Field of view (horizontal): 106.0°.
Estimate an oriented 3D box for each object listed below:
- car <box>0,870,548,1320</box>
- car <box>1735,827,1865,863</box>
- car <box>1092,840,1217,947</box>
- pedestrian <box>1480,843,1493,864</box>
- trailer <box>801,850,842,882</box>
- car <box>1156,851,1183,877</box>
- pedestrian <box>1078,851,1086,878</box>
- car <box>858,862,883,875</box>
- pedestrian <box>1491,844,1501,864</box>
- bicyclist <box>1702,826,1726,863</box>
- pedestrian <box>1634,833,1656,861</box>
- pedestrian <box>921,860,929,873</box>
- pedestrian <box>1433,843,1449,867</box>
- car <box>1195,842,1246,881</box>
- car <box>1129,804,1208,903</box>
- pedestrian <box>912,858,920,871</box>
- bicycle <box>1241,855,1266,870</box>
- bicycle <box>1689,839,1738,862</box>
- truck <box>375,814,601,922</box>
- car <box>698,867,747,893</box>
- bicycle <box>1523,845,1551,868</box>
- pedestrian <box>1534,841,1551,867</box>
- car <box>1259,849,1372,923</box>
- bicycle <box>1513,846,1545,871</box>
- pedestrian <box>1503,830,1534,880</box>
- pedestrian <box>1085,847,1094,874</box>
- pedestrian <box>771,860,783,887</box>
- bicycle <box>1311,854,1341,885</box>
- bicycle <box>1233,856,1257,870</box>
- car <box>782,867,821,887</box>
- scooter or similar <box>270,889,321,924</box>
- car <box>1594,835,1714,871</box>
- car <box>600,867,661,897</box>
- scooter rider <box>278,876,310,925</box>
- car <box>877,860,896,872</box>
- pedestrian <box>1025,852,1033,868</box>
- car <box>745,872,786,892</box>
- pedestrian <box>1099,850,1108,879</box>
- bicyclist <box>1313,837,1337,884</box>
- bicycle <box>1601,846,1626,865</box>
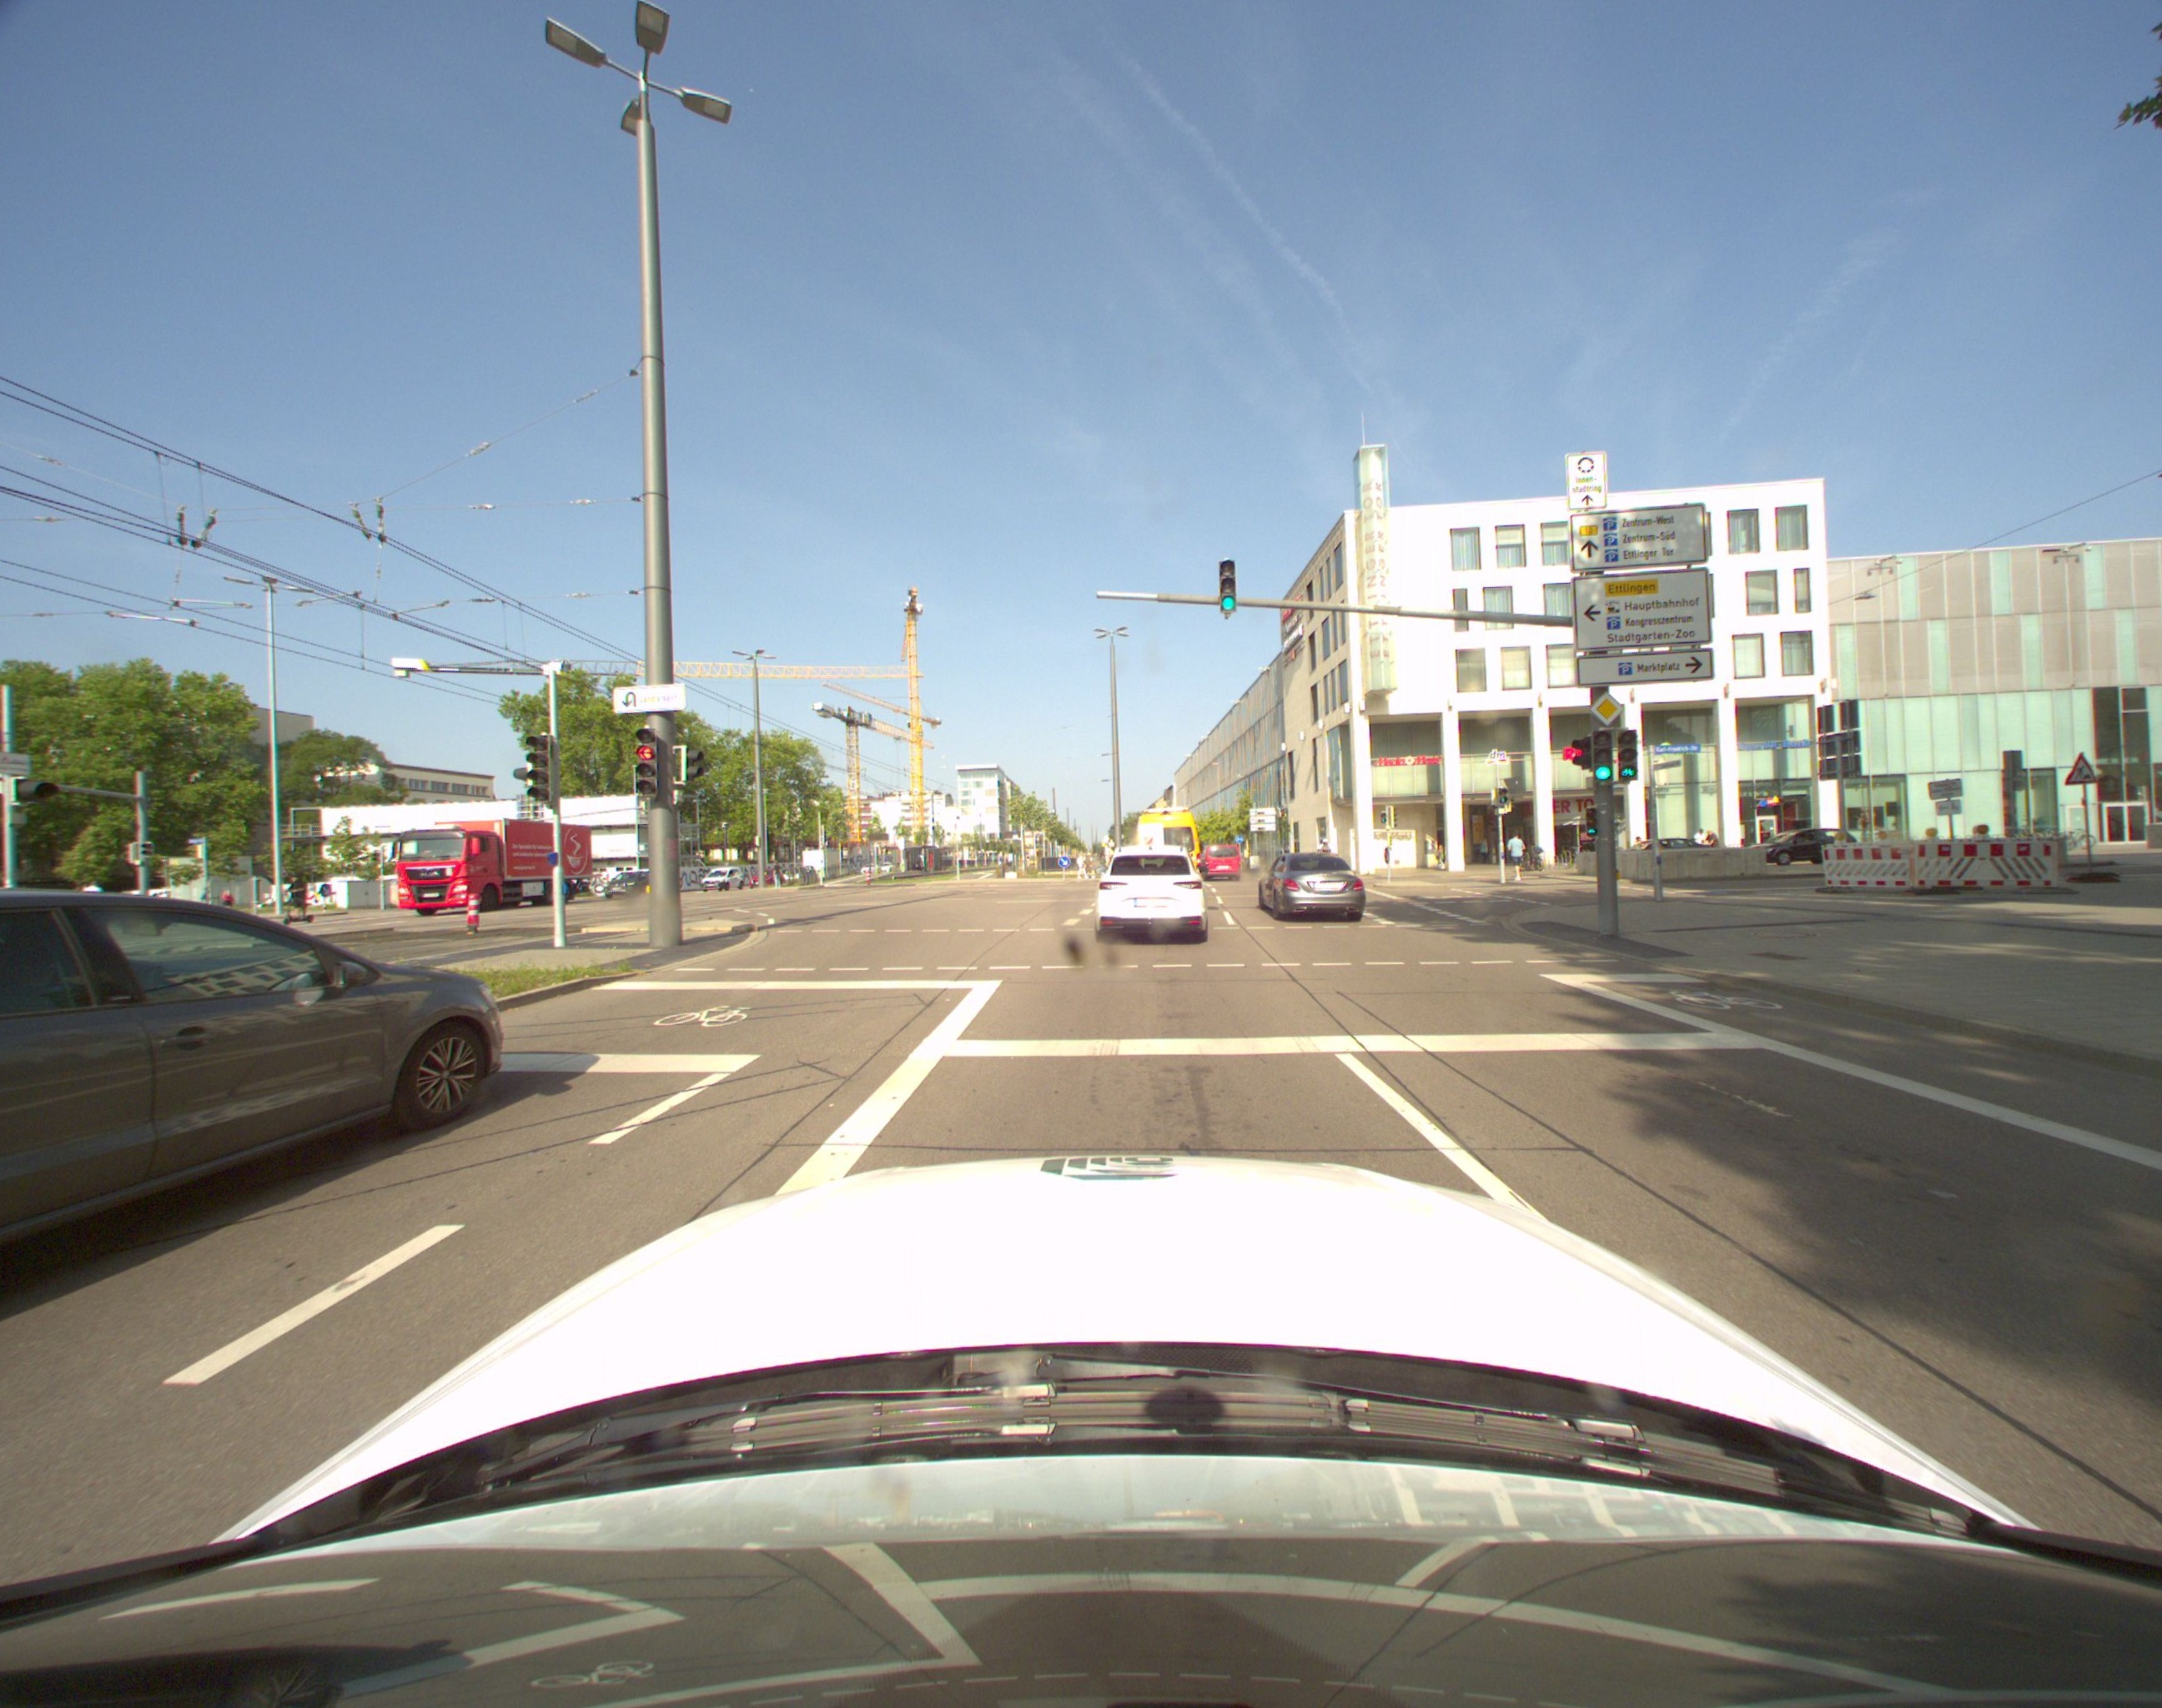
[{"bbox_3d":[-4.417,0.832,3.398,1.697,1.432,3.872,0,0,3],"label":"car"},{"bbox_3d":[31.179,-0.385,35.420,3.881,1.402,1.882,-2,0,6],"label":"car"},{"bbox_3d":[1.185,0.612,14.473,1.863,1.574,4.002,-2,0,2],"label":"car"},{"bbox_3d":[27.316,-0.004,54.906,0.562,1.384,0.492,-2,0,-4],"label":"pedestrian"},{"bbox_3d":[-23.629,1.060,74.323,2.037,2.781,5.022,0,-1,1],"label":"trailer"},{"bbox_3d":[6.723,0.753,62.032,1.703,1.863,3.795,0,-1,2],"label":"car"},{"bbox_3d":[0.063,0.634,50.053,0.466,1.650,0.777,-2,0,1],"label":"pedestrian"},{"bbox_3d":[-27.546,1.900,106.555,1.784,1.582,4.620,-2,0,3],"label":"car"},{"bbox_3d":[27.449,-0.013,53.900,0.390,1.341,0.456,-2,0,1],"label":"pedestrian"},{"bbox_3d":[30.046,-0.433,38.688,0.632,1.738,0.582,-2,0,2],"label":"bicyclist"},{"bbox_3d":[30.197,-0.359,43.592,0.604,1.485,0.732,-2,-1,-29],"label":"pedestrian"},{"bbox_3d":[-16.630,1.325,86.654,0.678,1.300,0.592,-2,0,-2],"label":"pedestrian"},{"bbox_3d":[22.464,0.080,50.788,0.704,1.487,0.605,-2,0,4],"label":"pedestrian"},{"bbox_3d":[7.233,0.387,42.603,1.943,1.850,4.437,-2,0,2],"label":"car"},{"bbox_3d":[2.668,-0.067,26.065,2.013,2.795,5.403,-2,1,2],"label":"car"},{"bbox_3d":[-16.938,1.121,83.715,0.678,1.300,0.592,-2,0,-2],"label":"pedestrian"},{"bbox_3d":[13.270,0.665,62.647,1.831,1.113,0.687,0,0,3],"label":"bicycle"},{"bbox_3d":[30.055,-0.153,38.691,1.795,1.017,0.612,-2,0,1],"label":"bicycle"},{"bbox_3d":[-24.687,0.524,34.897,2.969,3.809,10.398,-2,0,-7],"label":"truck"},{"bbox_3d":[-27.389,1.983,62.347,1.609,1.789,4.520,-2,0,2],"label":"car"},{"bbox_3d":[24.139,0.124,43.140,0.498,1.199,1.793,-2,0,1],"label":"bicycle"},{"bbox_3d":[24.561,-0.023,43.362,0.510,1.356,0.547,-2,-1,-5],"label":"pedestrian"},{"bbox_3d":[5.061,0.635,18.099,1.751,1.436,4.123,-1,0,7],"label":"car"},{"bbox_3d":[23.449,0.242,42.651,0.610,1.237,2.072,-2,0,4],"label":"bicycle"},{"bbox_3d":[15.477,0.038,28.809,0.639,1.711,0.992,-2,0,10],"label":"pedestrian"},{"bbox_3d":[0.528,0.379,50.917,0.466,1.650,0.777,-2,0,1],"label":"pedestrian"},{"bbox_3d":[-18.847,1.216,50.502,0.367,1.676,0.643,-2,0,18],"label":"pedestrian"},{"bbox_3d":[9.302,0.555,30.989,0.658,1.117,2.053,-2,0,4],"label":"bicycle"},{"bbox_3d":[13.427,0.753,66.824,1.870,1.109,0.491,-2,0,3],"label":"bicycle"},{"bbox_3d":[-23.310,1.884,68.111,1.637,1.469,4.403,-2,0,0],"label":"car"},{"bbox_3d":[-28.094,1.847,29.153,0.538,1.146,1.381,-2,0,-4],"label":"scooter or similar"},{"bbox_3d":[25.137,-0.030,35.870,3.873,1.366,1.880,-2,-1,5],"label":"car"},{"bbox_3d":[-26.666,1.614,48.314,1.637,1.601,3.992,-2,0,-6],"label":"car"},{"bbox_3d":[-28.083,1.656,29.062,0.536,1.698,0.549,-2,0,-4],"label":"scooter rider"},{"bbox_3d":[-27.177,1.662,113.946,1.590,1.463,3.435,-2,0,2],"label":"car"},{"bbox_3d":[-5.326,0.645,84.085,0.733,1.619,0.711,-2,-1,1],"label":"pedestrian"},{"bbox_3d":[-23.928,2.069,61.907,1.716,1.361,3.695,-2,0,-2],"label":"car"},{"bbox_3d":[1.302,0.596,47.421,0.466,1.650,0.777,-2,0,1],"label":"pedestrian"},{"bbox_3d":[9.296,0.258,31.020,0.648,1.749,0.770,-2,0,4],"label":"bicyclist"},{"bbox_3d":[28.452,0.077,43.537,0.456,0.956,1.861,-2,0,11],"label":"bicycle"}]
